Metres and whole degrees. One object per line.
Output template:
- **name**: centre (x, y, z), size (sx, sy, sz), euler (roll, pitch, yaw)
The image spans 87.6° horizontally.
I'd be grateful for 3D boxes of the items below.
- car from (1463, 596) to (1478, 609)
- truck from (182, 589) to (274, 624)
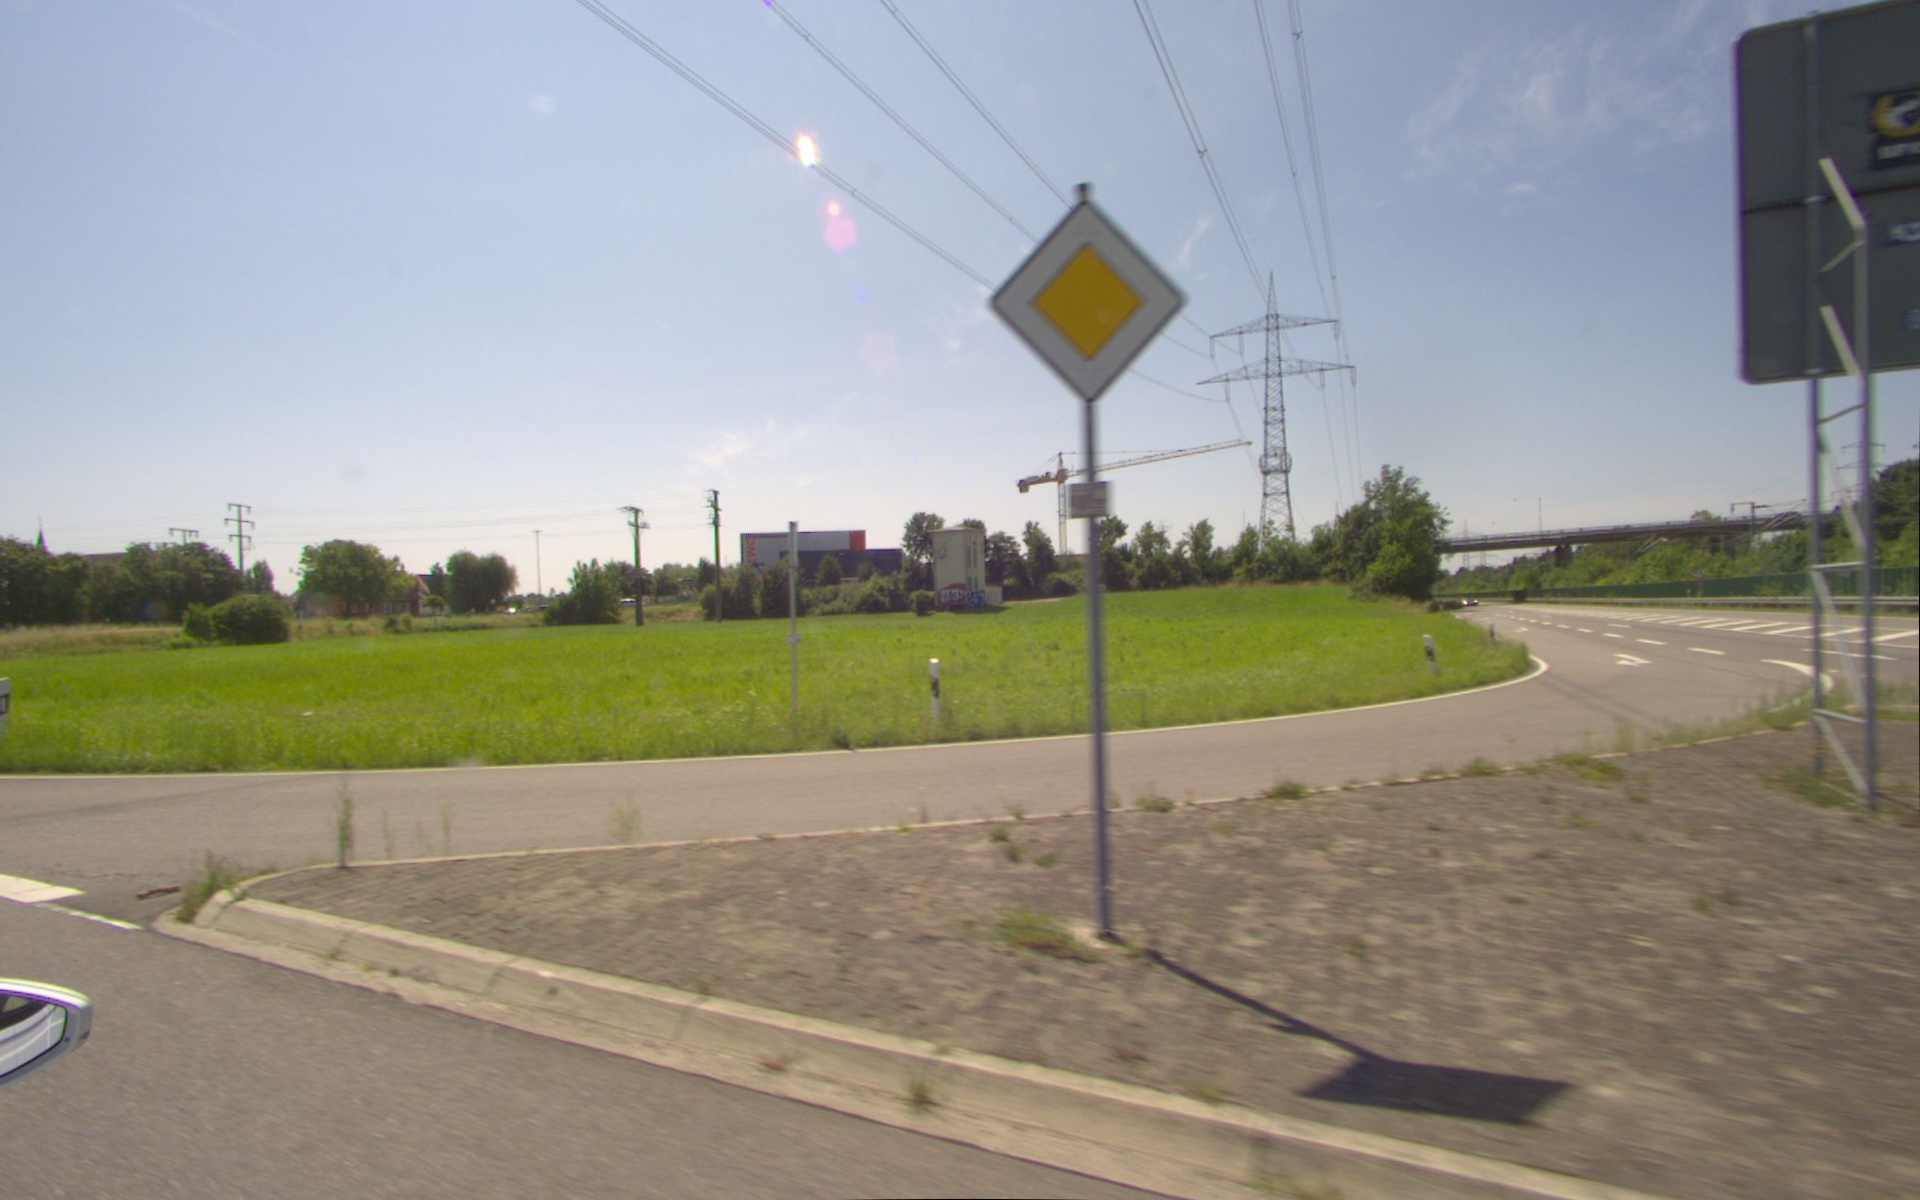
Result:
- **car**: centre (70.605, 0.315, 138.469), size (1.697, 1.746, 3.986), euler (-1, 0, 25)
- **truck**: centre (-71.235, 0.678, 97.718), size (3.048, 3.177, 8.805), euler (0, -2, -5)
